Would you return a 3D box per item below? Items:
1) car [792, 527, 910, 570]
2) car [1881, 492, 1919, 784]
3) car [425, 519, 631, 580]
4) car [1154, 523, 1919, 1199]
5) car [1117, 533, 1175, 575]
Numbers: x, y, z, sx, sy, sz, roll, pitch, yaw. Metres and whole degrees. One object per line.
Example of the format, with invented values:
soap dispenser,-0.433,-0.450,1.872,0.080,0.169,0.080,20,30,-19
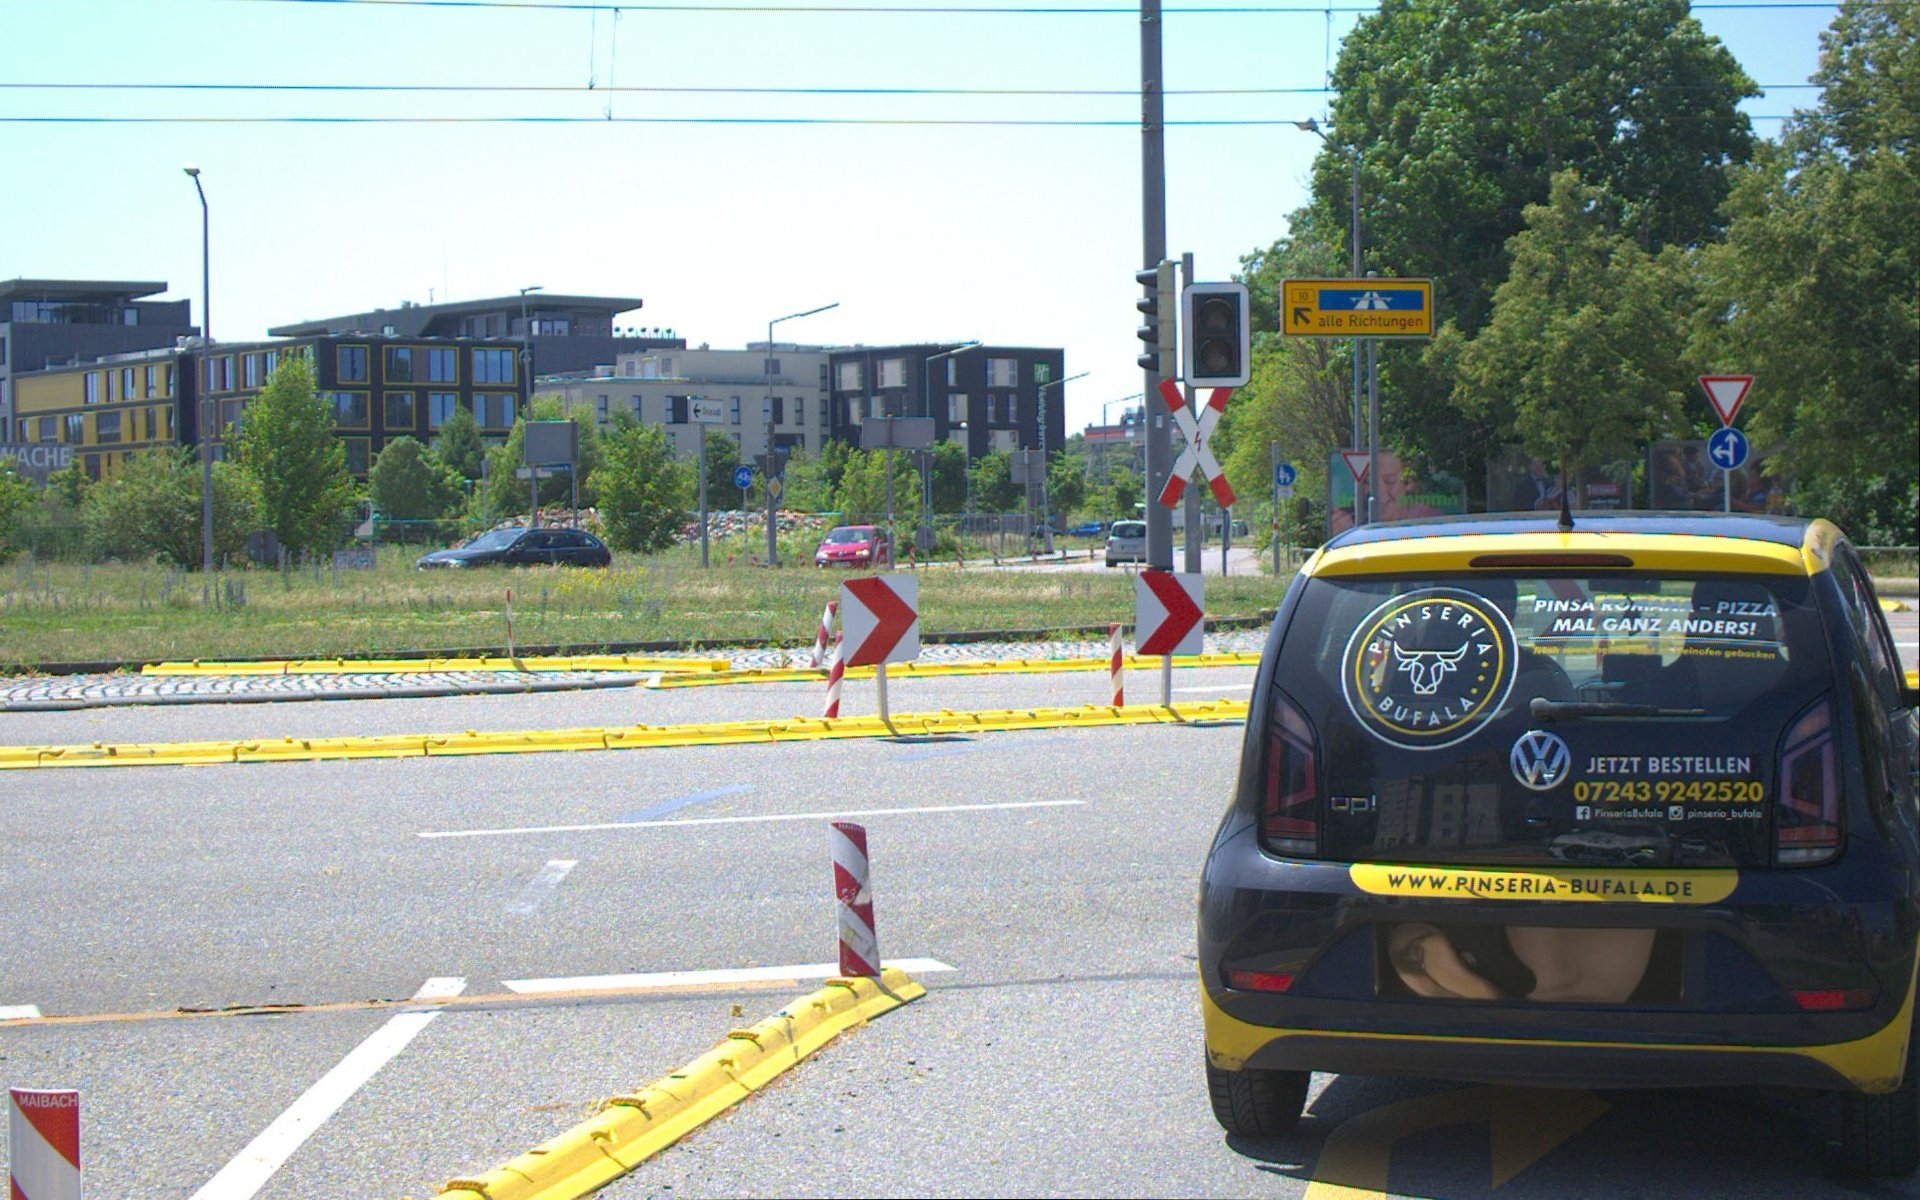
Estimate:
car,-2.936,-1.401,92.861,1.495,1.086,3.514,0,2,32
car,7.153,0.167,17.336,4.634,1.444,2.001,-1,2,-25
car,-9.884,-1.170,78.916,1.998,1.314,4.472,1,2,42
car,1.781,0.527,9.111,1.620,1.446,3.983,1,2,17
car,6.370,-1.576,117.685,1.659,1.367,3.031,0,1,9
